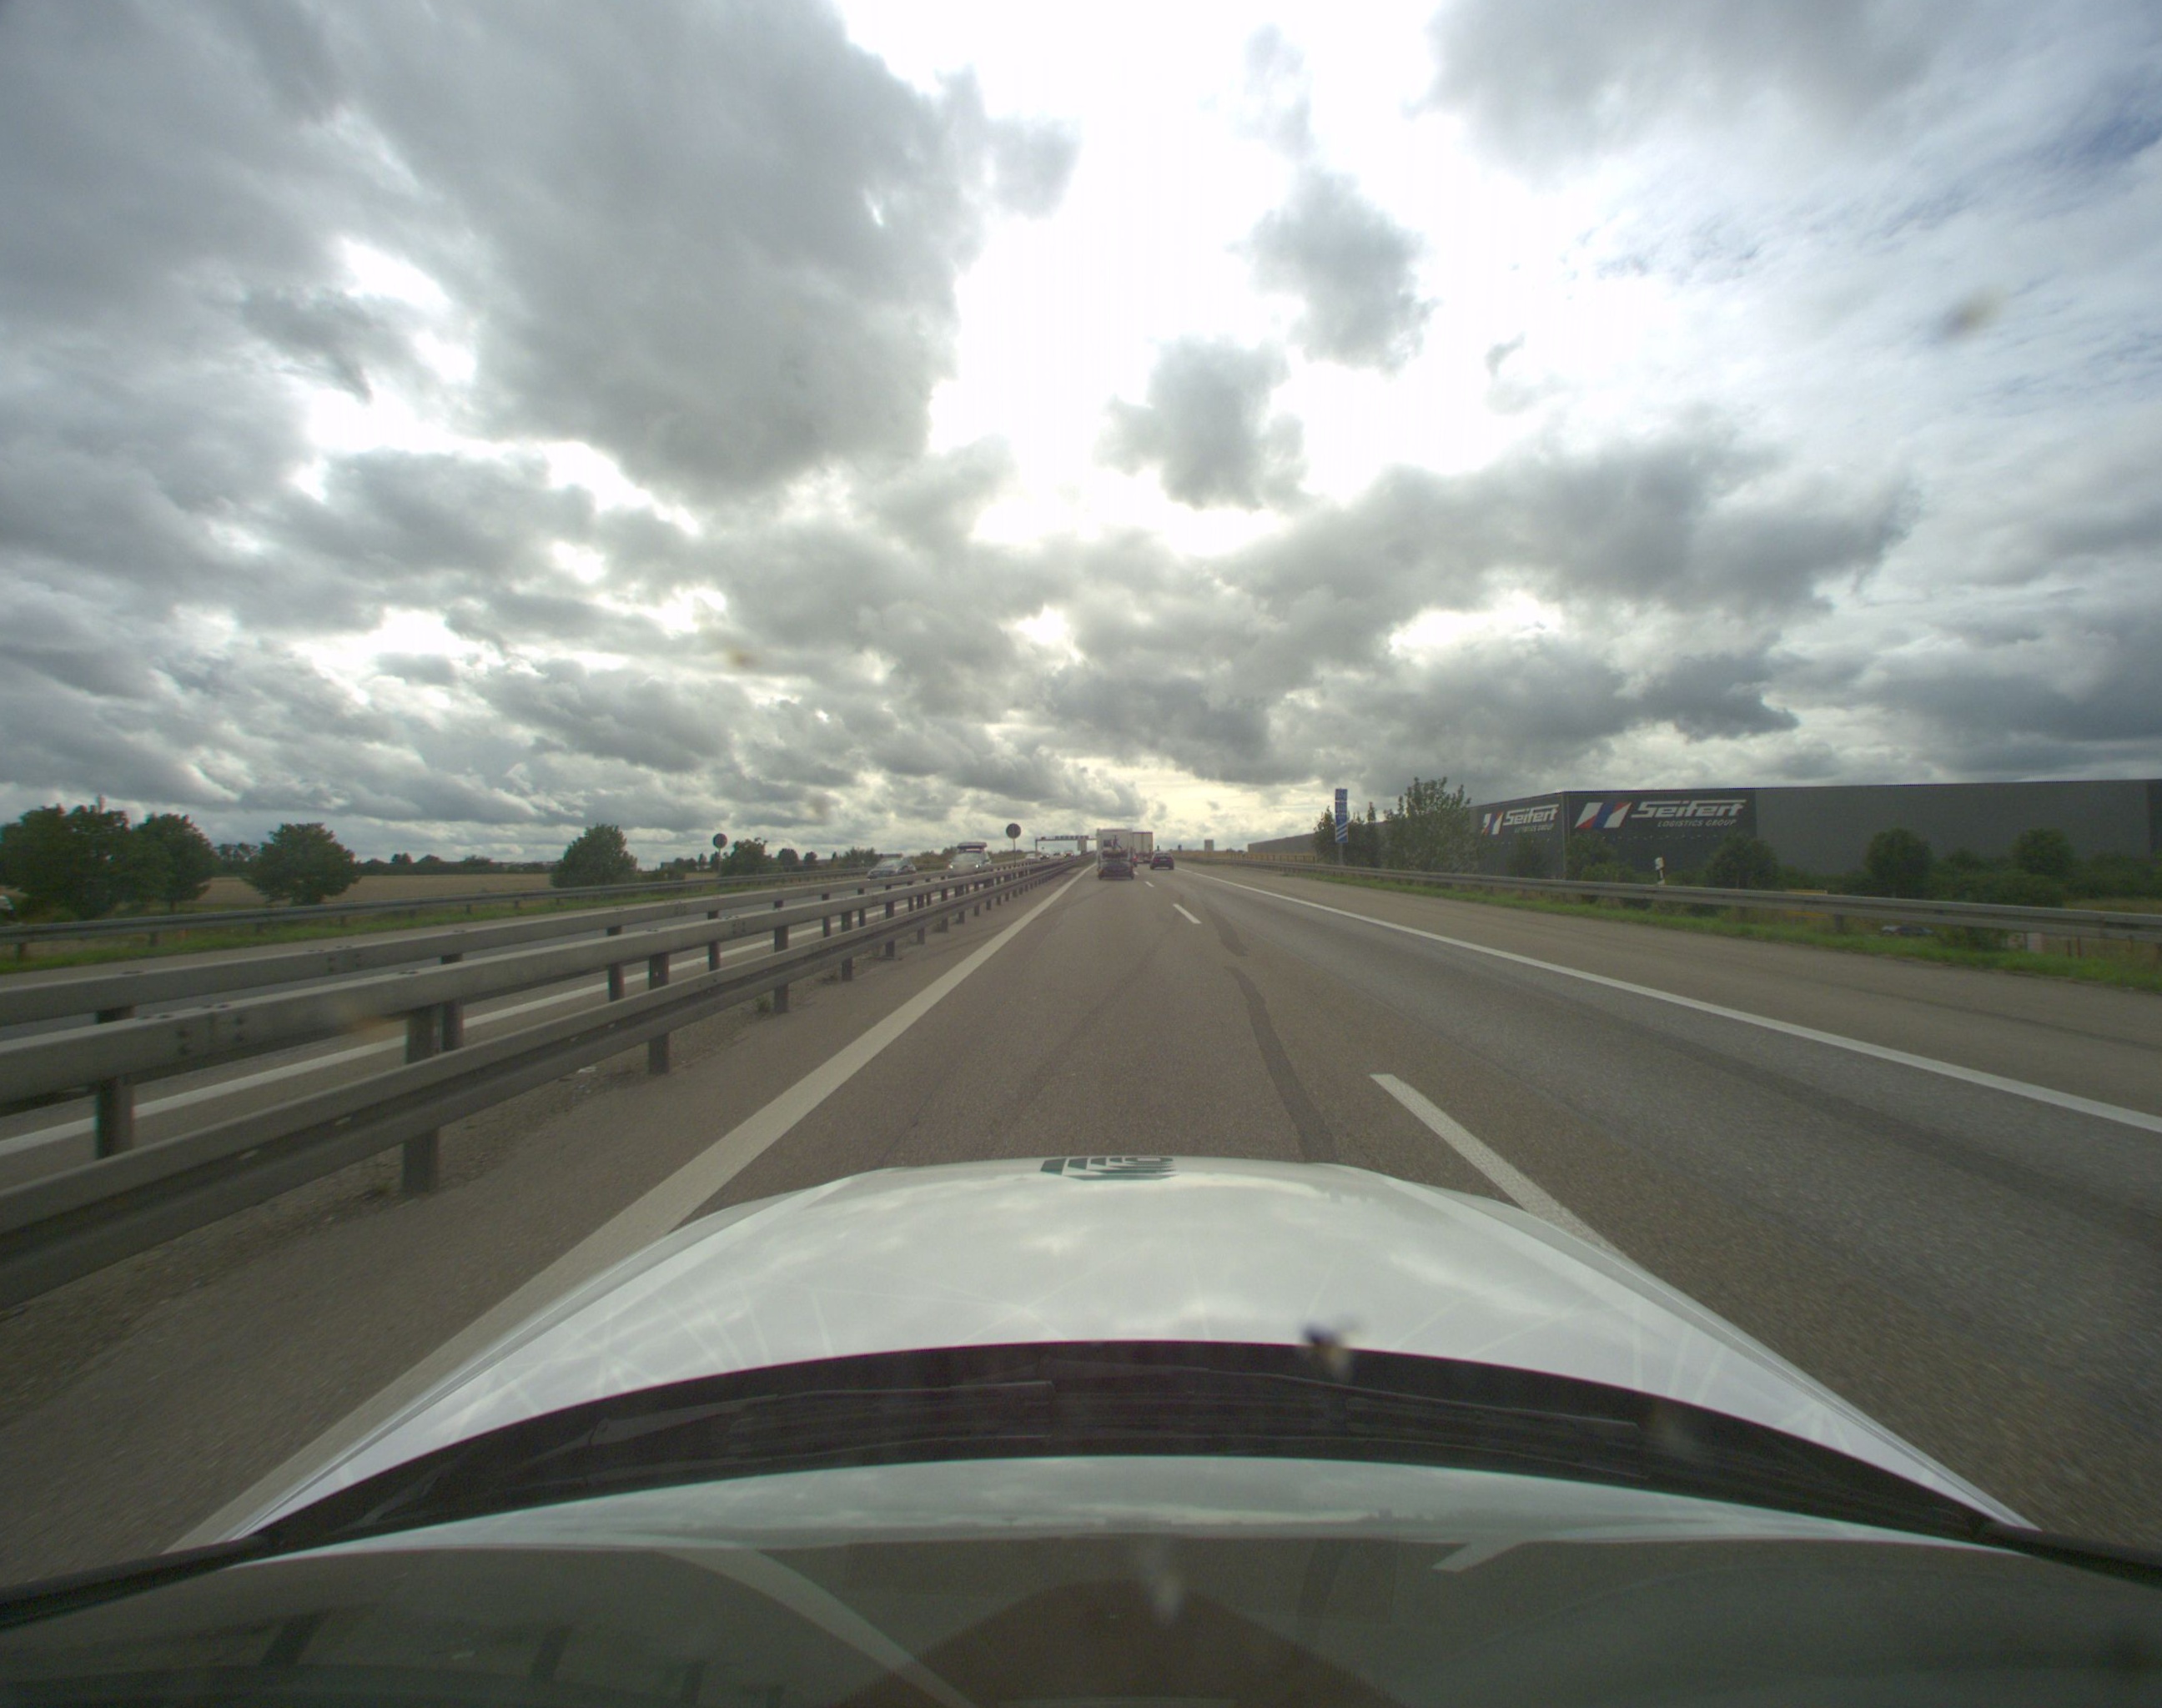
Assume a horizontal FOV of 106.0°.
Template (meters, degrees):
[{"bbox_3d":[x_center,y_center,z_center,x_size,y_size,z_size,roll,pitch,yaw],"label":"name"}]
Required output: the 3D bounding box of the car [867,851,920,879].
[{"bbox_3d":[-10.229,0.564,44.700,1.750,1.468,4.561,0,0,1],"label":"car"}]

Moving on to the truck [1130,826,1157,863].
[{"bbox_3d":[8.054,-1.110,105.797,3.234,4.525,7.069,-1,-1,2],"label":"truck"}]

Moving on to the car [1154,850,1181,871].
[{"bbox_3d":[6.925,0.537,65.650,1.875,1.620,4.001,-1,-1,1],"label":"car"}]

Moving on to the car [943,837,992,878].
[{"bbox_3d":[-5.957,0.167,43.298,1.987,2.013,4.383,0,0,0],"label":"car"}]

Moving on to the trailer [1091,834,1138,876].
[{"bbox_3d":[1.891,0.073,44.285,2.327,2.136,4.005,-1,-1,4],"label":"trailer"}]

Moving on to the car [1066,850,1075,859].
[{"bbox_3d":[-2.215,0.095,173.411,1.707,1.899,4.002,-1,-1,2],"label":"car"}]

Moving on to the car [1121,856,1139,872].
[{"bbox_3d":[4.718,0.951,78.688,1.684,1.520,4.003,-1,-1,3],"label":"car"}]

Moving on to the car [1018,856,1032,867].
[{"bbox_3d":[-8.647,1.173,126.443,1.745,1.786,4.002,-1,-1,2],"label":"car"}]

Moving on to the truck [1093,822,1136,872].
[{"bbox_3d":[2.130,-0.362,51.401,2.472,2.950,5.818,-1,-1,3],"label":"truck"}]

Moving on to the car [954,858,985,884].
[{"bbox_3d":[-9.336,1.428,68.671,1.987,2.014,4.383,-1,-1,0],"label":"car"}]

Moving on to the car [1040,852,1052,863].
[{"bbox_3d":[-6.515,0.657,152.518,1.886,2.014,4.002,-1,-1,2],"label":"car"}]
